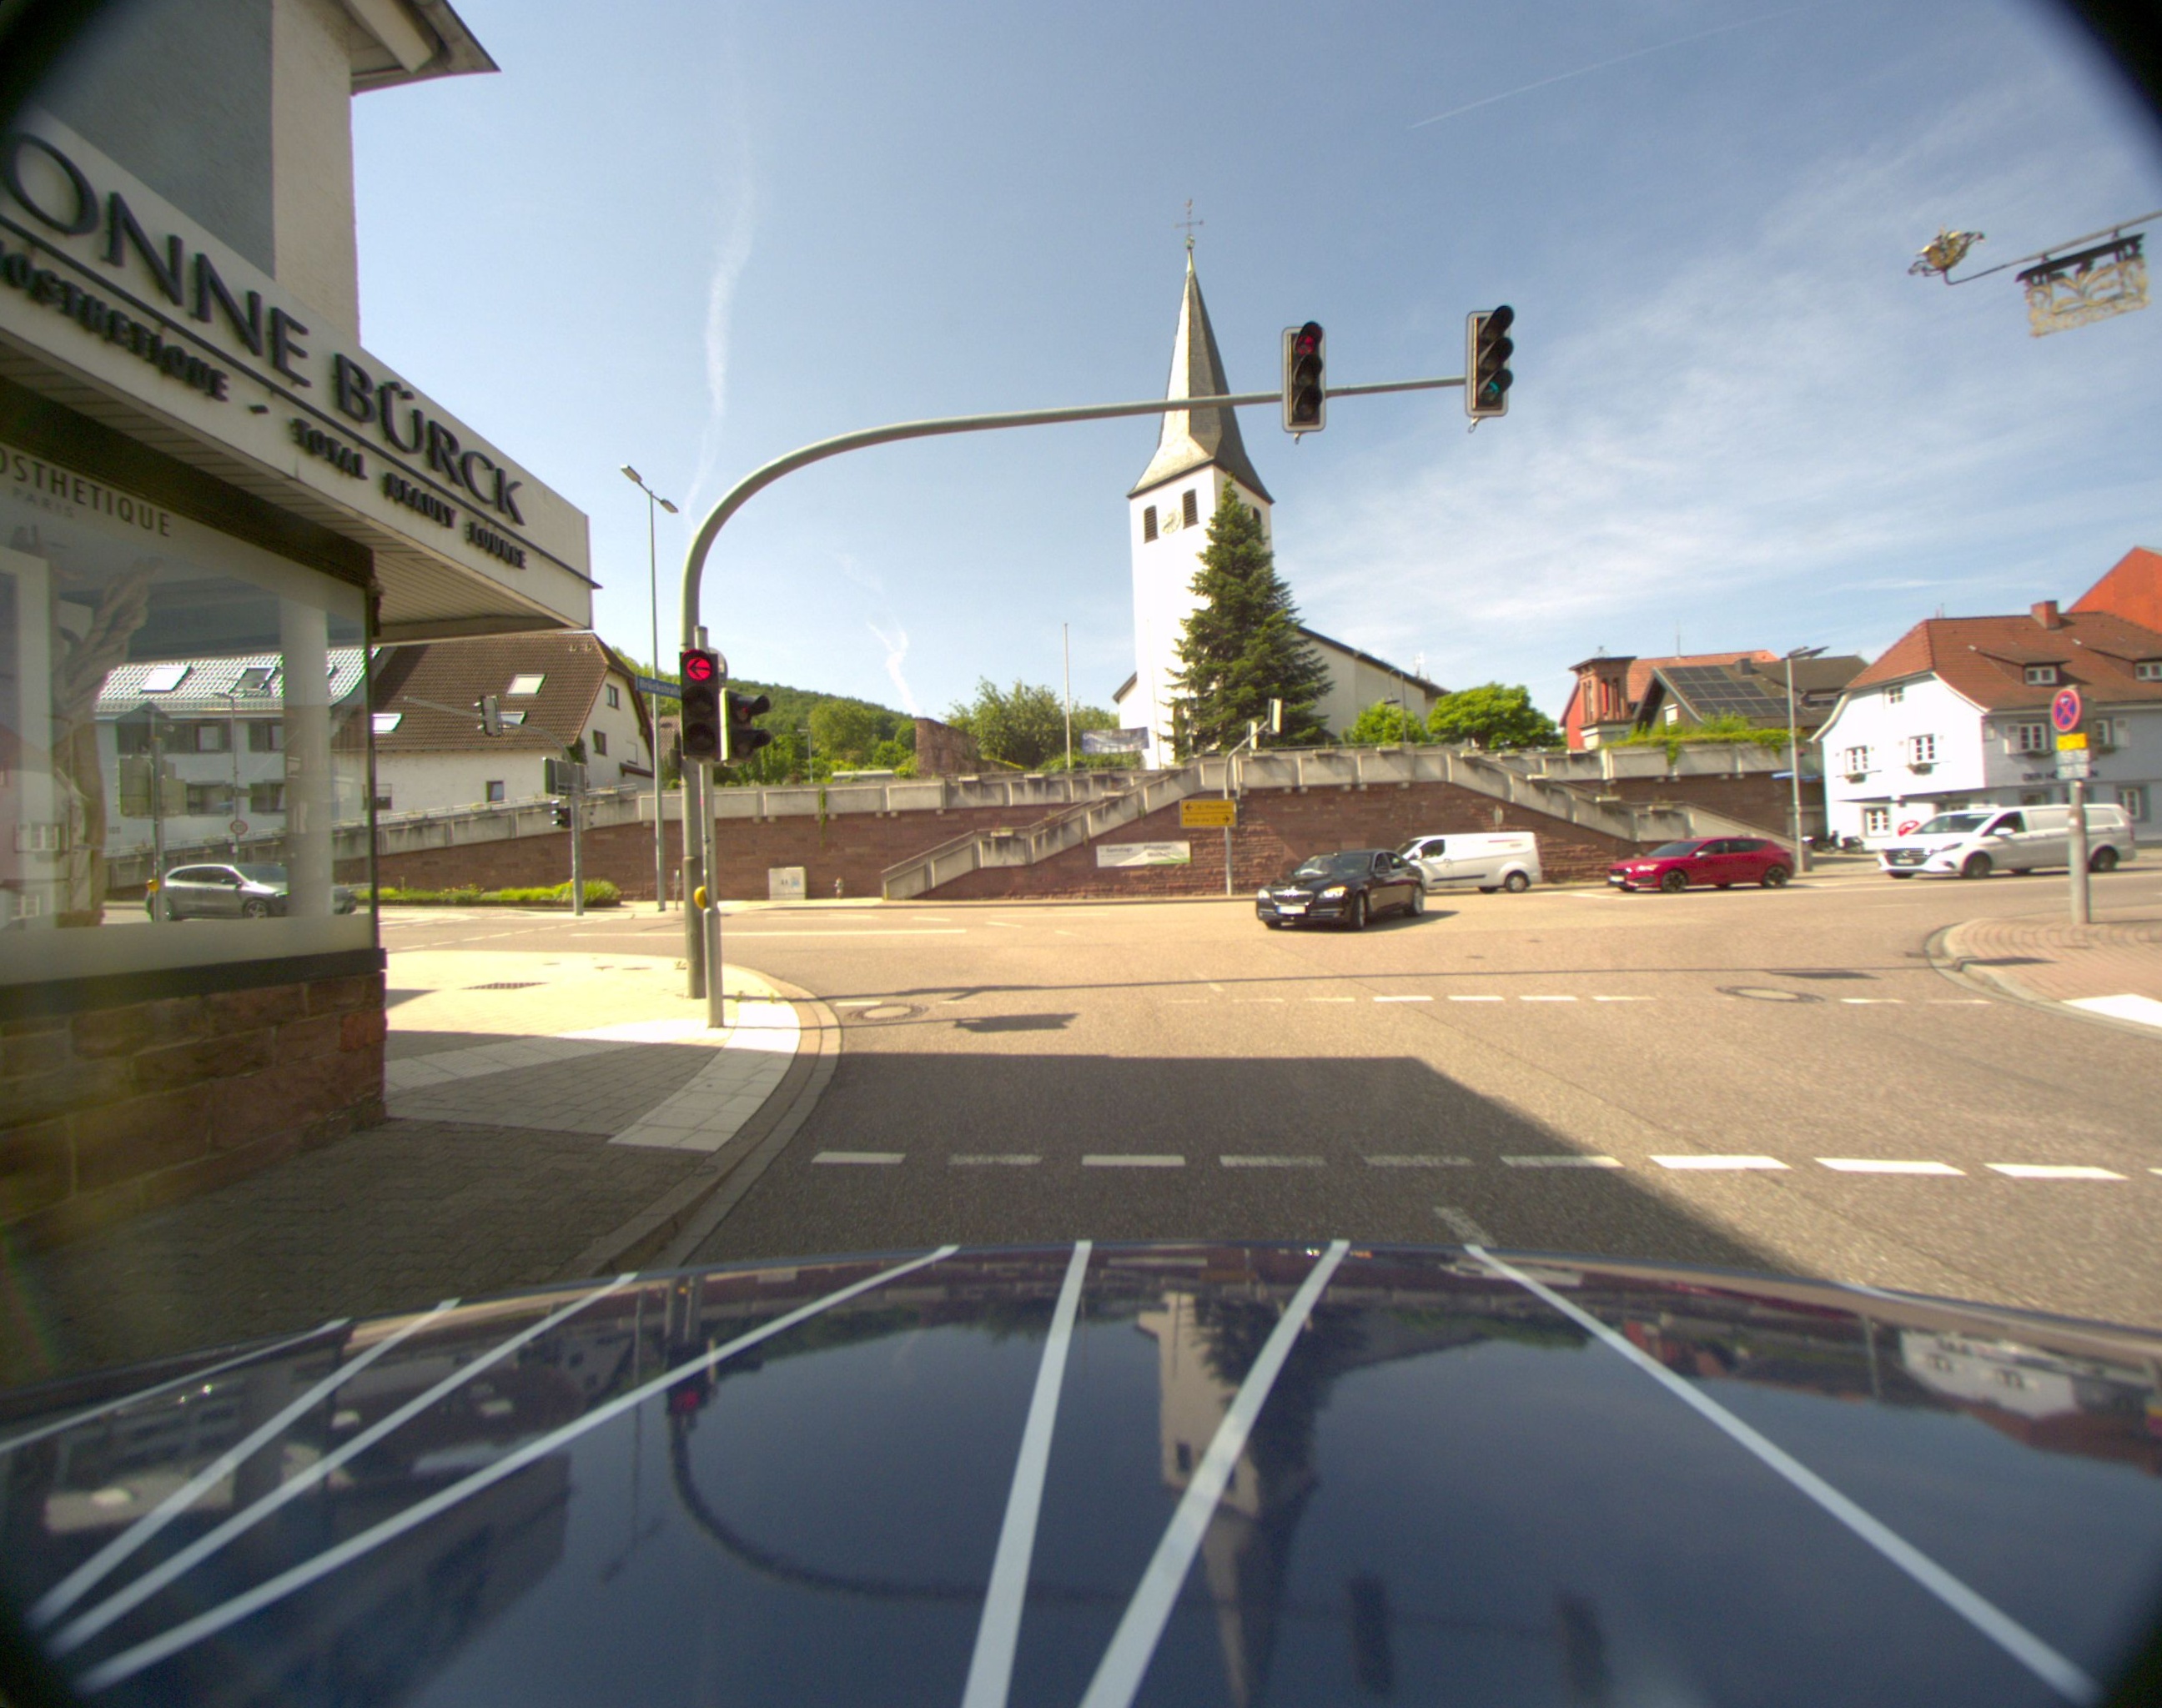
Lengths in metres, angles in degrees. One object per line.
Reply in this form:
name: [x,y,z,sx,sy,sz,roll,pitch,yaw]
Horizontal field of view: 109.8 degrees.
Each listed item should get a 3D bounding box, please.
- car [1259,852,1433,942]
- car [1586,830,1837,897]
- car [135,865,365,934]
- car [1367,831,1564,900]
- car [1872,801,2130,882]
car: [5.333,0.739,14.931,1.821,1.426,4.257,-2,0,40]
car: [16.912,0.243,20.602,4.943,1.506,2.166,-3,0,1]
car: [-20.847,1.105,19.149,4.284,1.564,1.739,0,2,8]
car: [12.389,0.386,24.817,5.272,1.955,2.145,-2,-1,3]
car: [24.892,-0.331,20.666,4.961,1.895,1.826,-3,0,-3]
